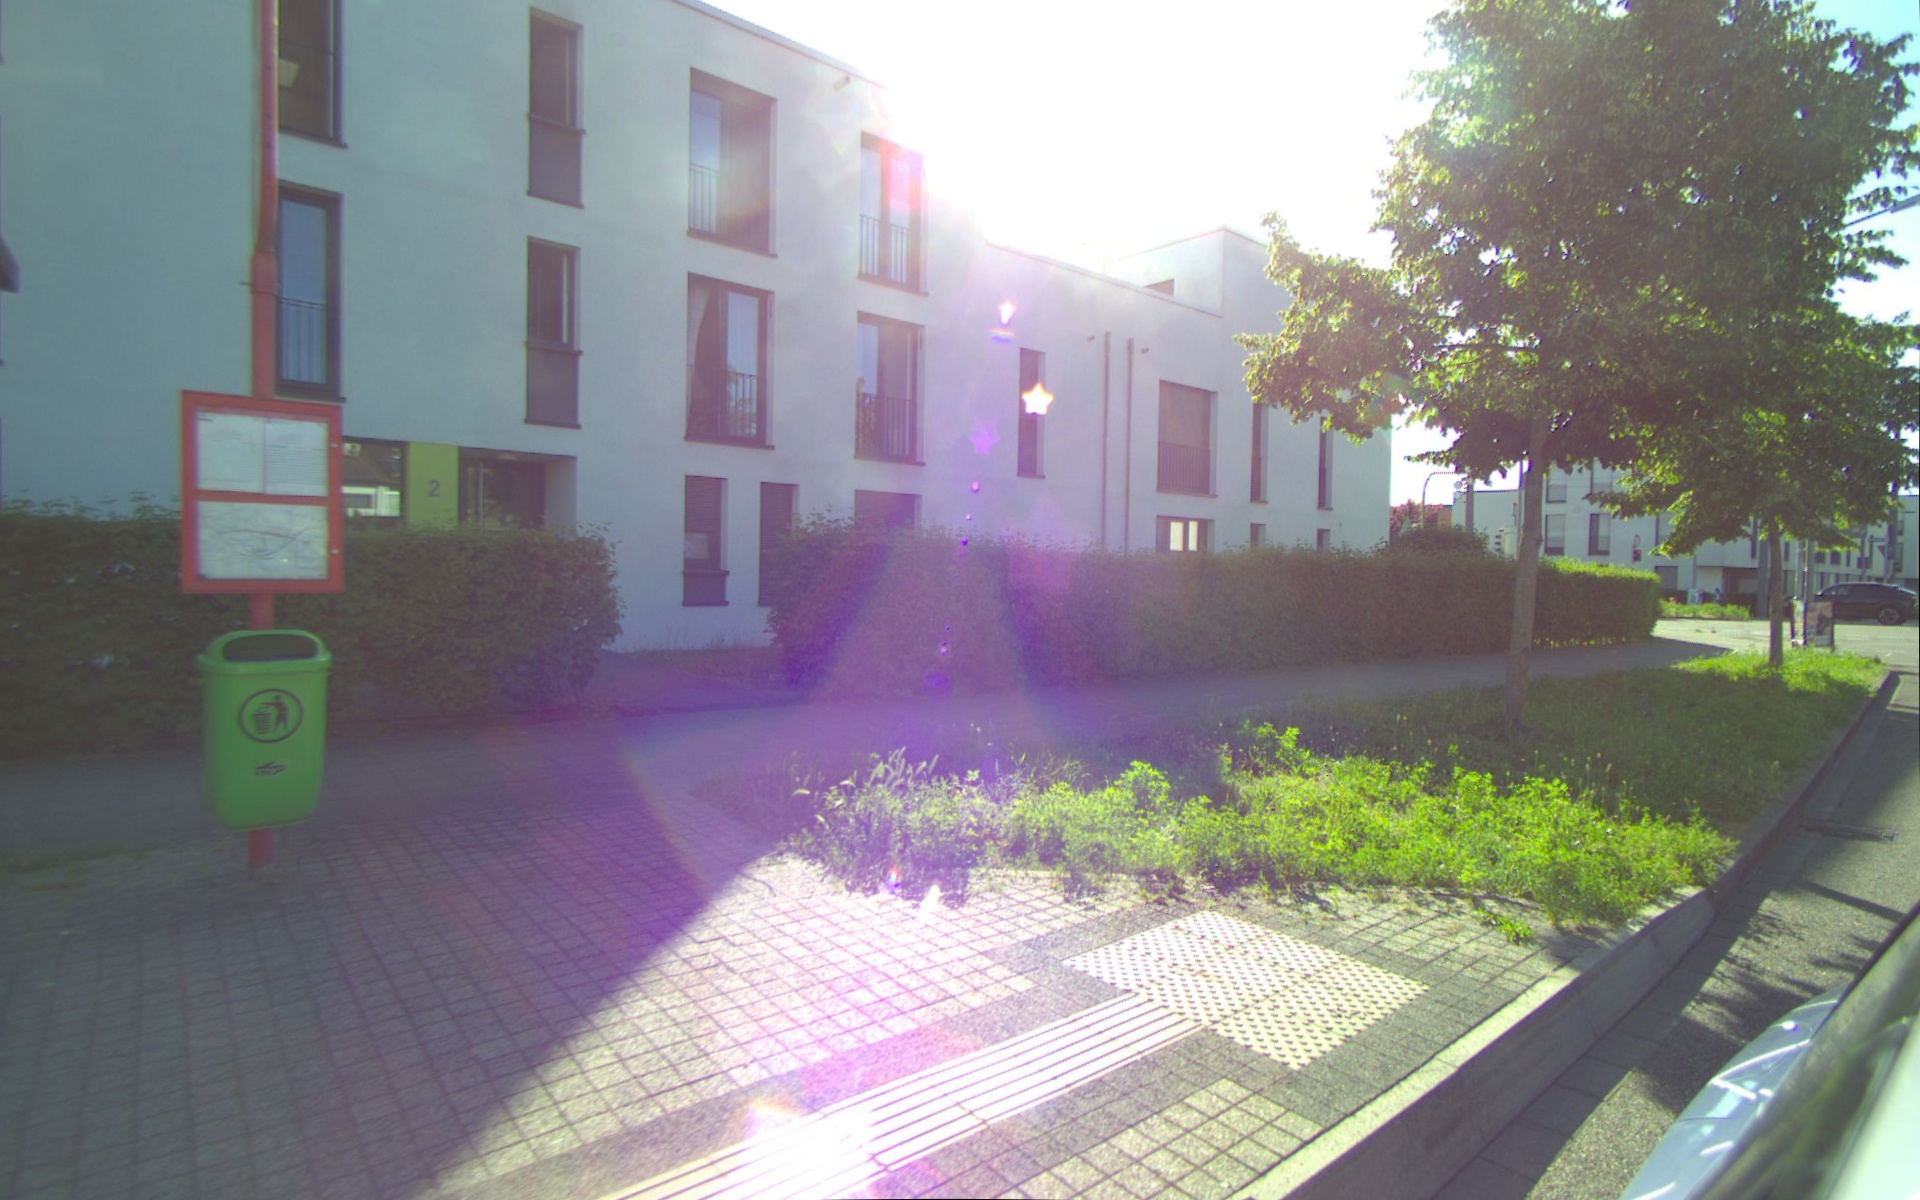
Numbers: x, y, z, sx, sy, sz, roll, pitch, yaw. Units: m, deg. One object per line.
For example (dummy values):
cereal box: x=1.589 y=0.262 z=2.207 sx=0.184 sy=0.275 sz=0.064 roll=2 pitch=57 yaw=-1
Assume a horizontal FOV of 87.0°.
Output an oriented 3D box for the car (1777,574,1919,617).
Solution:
car: x=35.404 y=-0.205 z=39.849 sx=1.939 sy=1.553 sz=4.734 roll=0 pitch=2 yaw=-40

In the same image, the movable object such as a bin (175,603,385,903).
movable object such as a bin: x=-2.584 y=0.533 z=3.860 sx=0.368 sy=1.029 sz=0.591 roll=2 pitch=1 yaw=41
